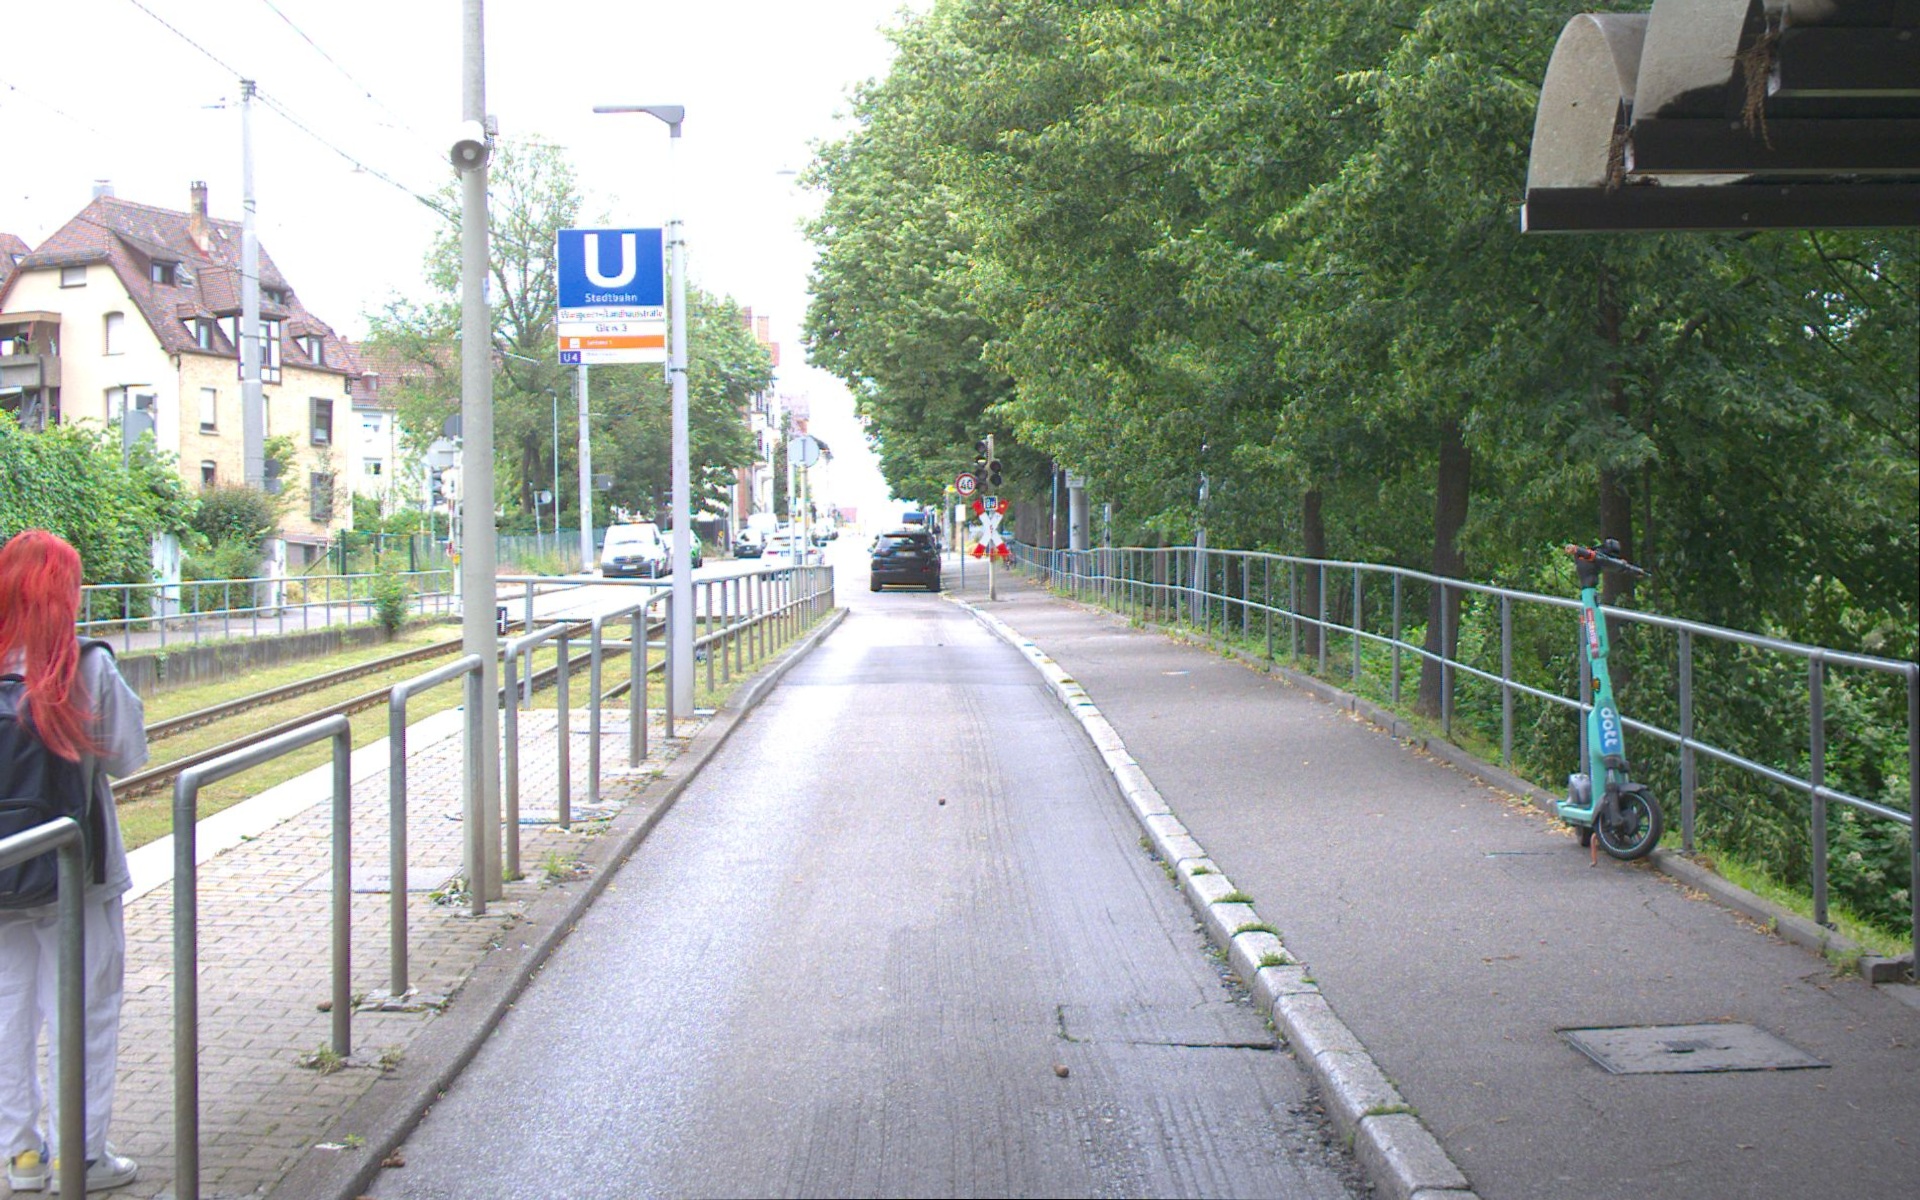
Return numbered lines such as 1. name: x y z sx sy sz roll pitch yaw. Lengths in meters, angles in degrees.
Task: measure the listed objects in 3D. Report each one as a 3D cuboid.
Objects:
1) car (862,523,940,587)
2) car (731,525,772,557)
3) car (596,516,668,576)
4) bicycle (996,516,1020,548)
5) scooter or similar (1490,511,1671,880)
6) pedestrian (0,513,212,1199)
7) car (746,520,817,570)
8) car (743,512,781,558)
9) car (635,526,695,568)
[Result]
1. car: -1.518 -1.202 90.403 1.904 1.609 4.600 1 1 1
2. car: -11.924 -3.389 196.790 1.993 1.802 4.000 0 0 1
3. car: -11.055 -1.788 116.166 2.035 1.875 4.885 -3 0 -2
4. bicycle: 1.523 -2.173 109.959 0.427 0.972 1.795 0 0 -10
5. scooter or similar: 2.431 0.351 13.579 0.430 1.380 1.455 0 0 -1
6. pedestrian: -1.991 0.566 7.428 0.624 1.497 0.739 0 2 -4
7. car: -5.460 -1.665 105.468 1.993 1.493 4.312 0 0 -1
8. car: -12.143 -3.985 211.276 2.230 2.755 5.800 0 0 -3
9. car: -11.196 -2.018 130.538 1.885 1.521 4.664 -2 1 -1
